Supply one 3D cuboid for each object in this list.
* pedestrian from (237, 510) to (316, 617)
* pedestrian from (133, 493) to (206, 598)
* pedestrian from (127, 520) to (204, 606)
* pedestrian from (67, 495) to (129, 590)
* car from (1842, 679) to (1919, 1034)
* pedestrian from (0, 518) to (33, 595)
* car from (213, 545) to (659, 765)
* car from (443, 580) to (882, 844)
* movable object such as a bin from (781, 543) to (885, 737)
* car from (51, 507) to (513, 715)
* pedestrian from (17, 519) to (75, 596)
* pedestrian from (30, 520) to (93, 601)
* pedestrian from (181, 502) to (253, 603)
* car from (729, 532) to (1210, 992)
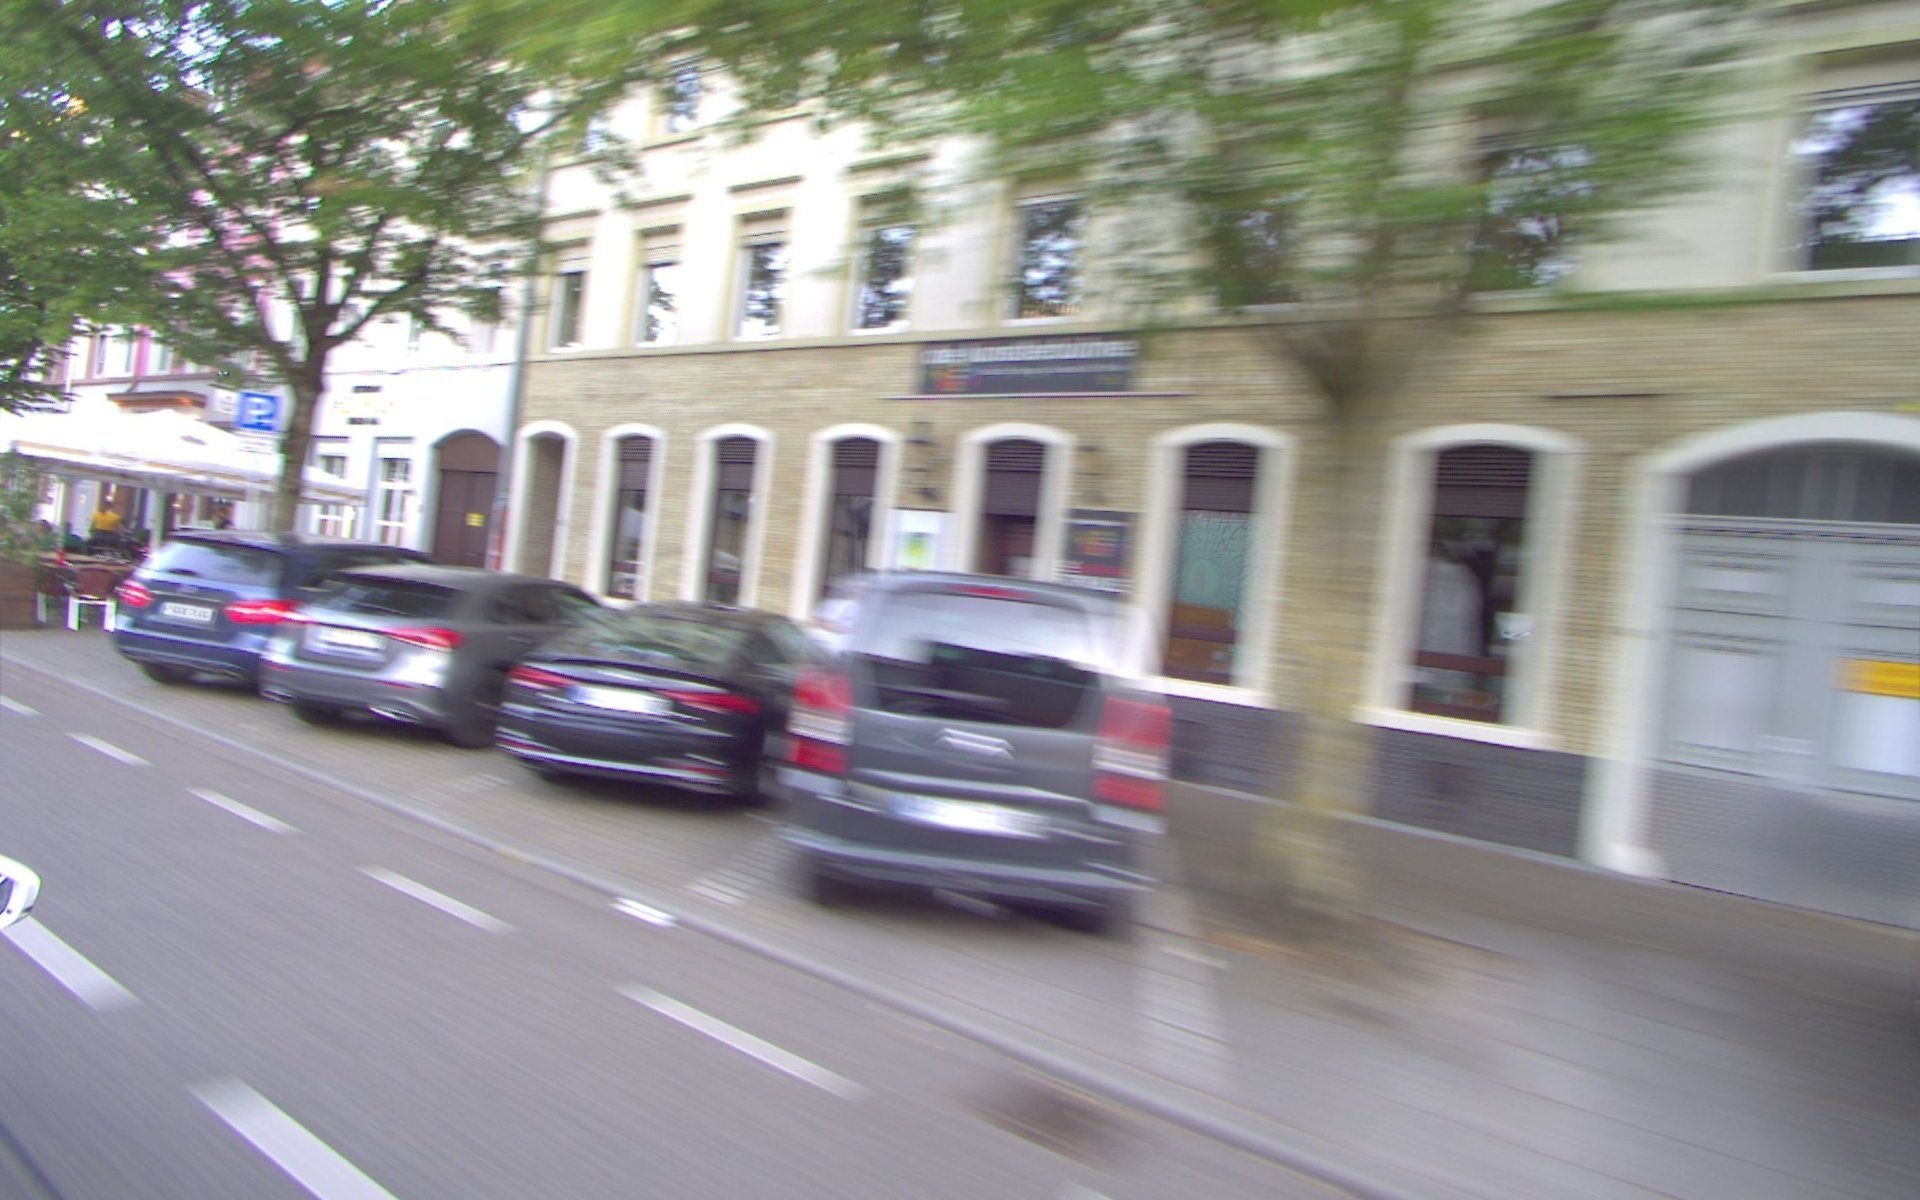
[{"bbox_3d":[-12.262,-0.643,18.073,0.701,1.784,0.705,7,-1,5],"label":"pedestrian"},{"bbox_3d":[-14.407,-0.979,18.343,0.701,1.783,0.553,7,-1,15],"label":"pedestrian"},{"bbox_3d":[-13.356,-0.619,16.923,0.701,1.321,0.553,7,-1,5],"label":"pedestrian"},{"bbox_3d":[-17.313,-1.152,20.201,0.879,1.784,0.551,7,-1,32],"label":"pedestrian"},{"bbox_3d":[5.118,1.332,3.378,1.972,1.710,4.656,7,1,27],"label":"car"},{"bbox_3d":[-17.110,-0.797,17.990,0.589,1.307,0.503,7,-1,28],"label":"pedestrian"},{"bbox_3d":[-4.420,0.411,9.238,1.673,1.425,3.785,6,0,7],"label":"car"},{"bbox_3d":[-2.008,0.668,8.272,1.772,1.407,4.323,6,1,7],"label":"car"},{"bbox_3d":[-1.405,0.448,11.185,0.684,2.037,0.614,7,-1,31],"label":"movable object such as a bin"},{"bbox_3d":[-6.602,0.103,10.430,1.673,1.573,3.975,6,0,7],"label":"car"},{"bbox_3d":[-16.813,-0.782,18.502,0.589,1.307,0.503,7,0,27],"label":"pedestrian"},{"bbox_3d":[-15.658,-0.684,17.538,0.496,1.307,0.599,7,-1,34],"label":"pedestrian"},{"bbox_3d":[-14.064,-0.888,19.055,0.837,1.784,0.553,7,-1,20],"label":"pedestrian"},{"bbox_3d":[0.170,0.721,6.552,1.970,1.829,4.160,6,0,4],"label":"car"}]
